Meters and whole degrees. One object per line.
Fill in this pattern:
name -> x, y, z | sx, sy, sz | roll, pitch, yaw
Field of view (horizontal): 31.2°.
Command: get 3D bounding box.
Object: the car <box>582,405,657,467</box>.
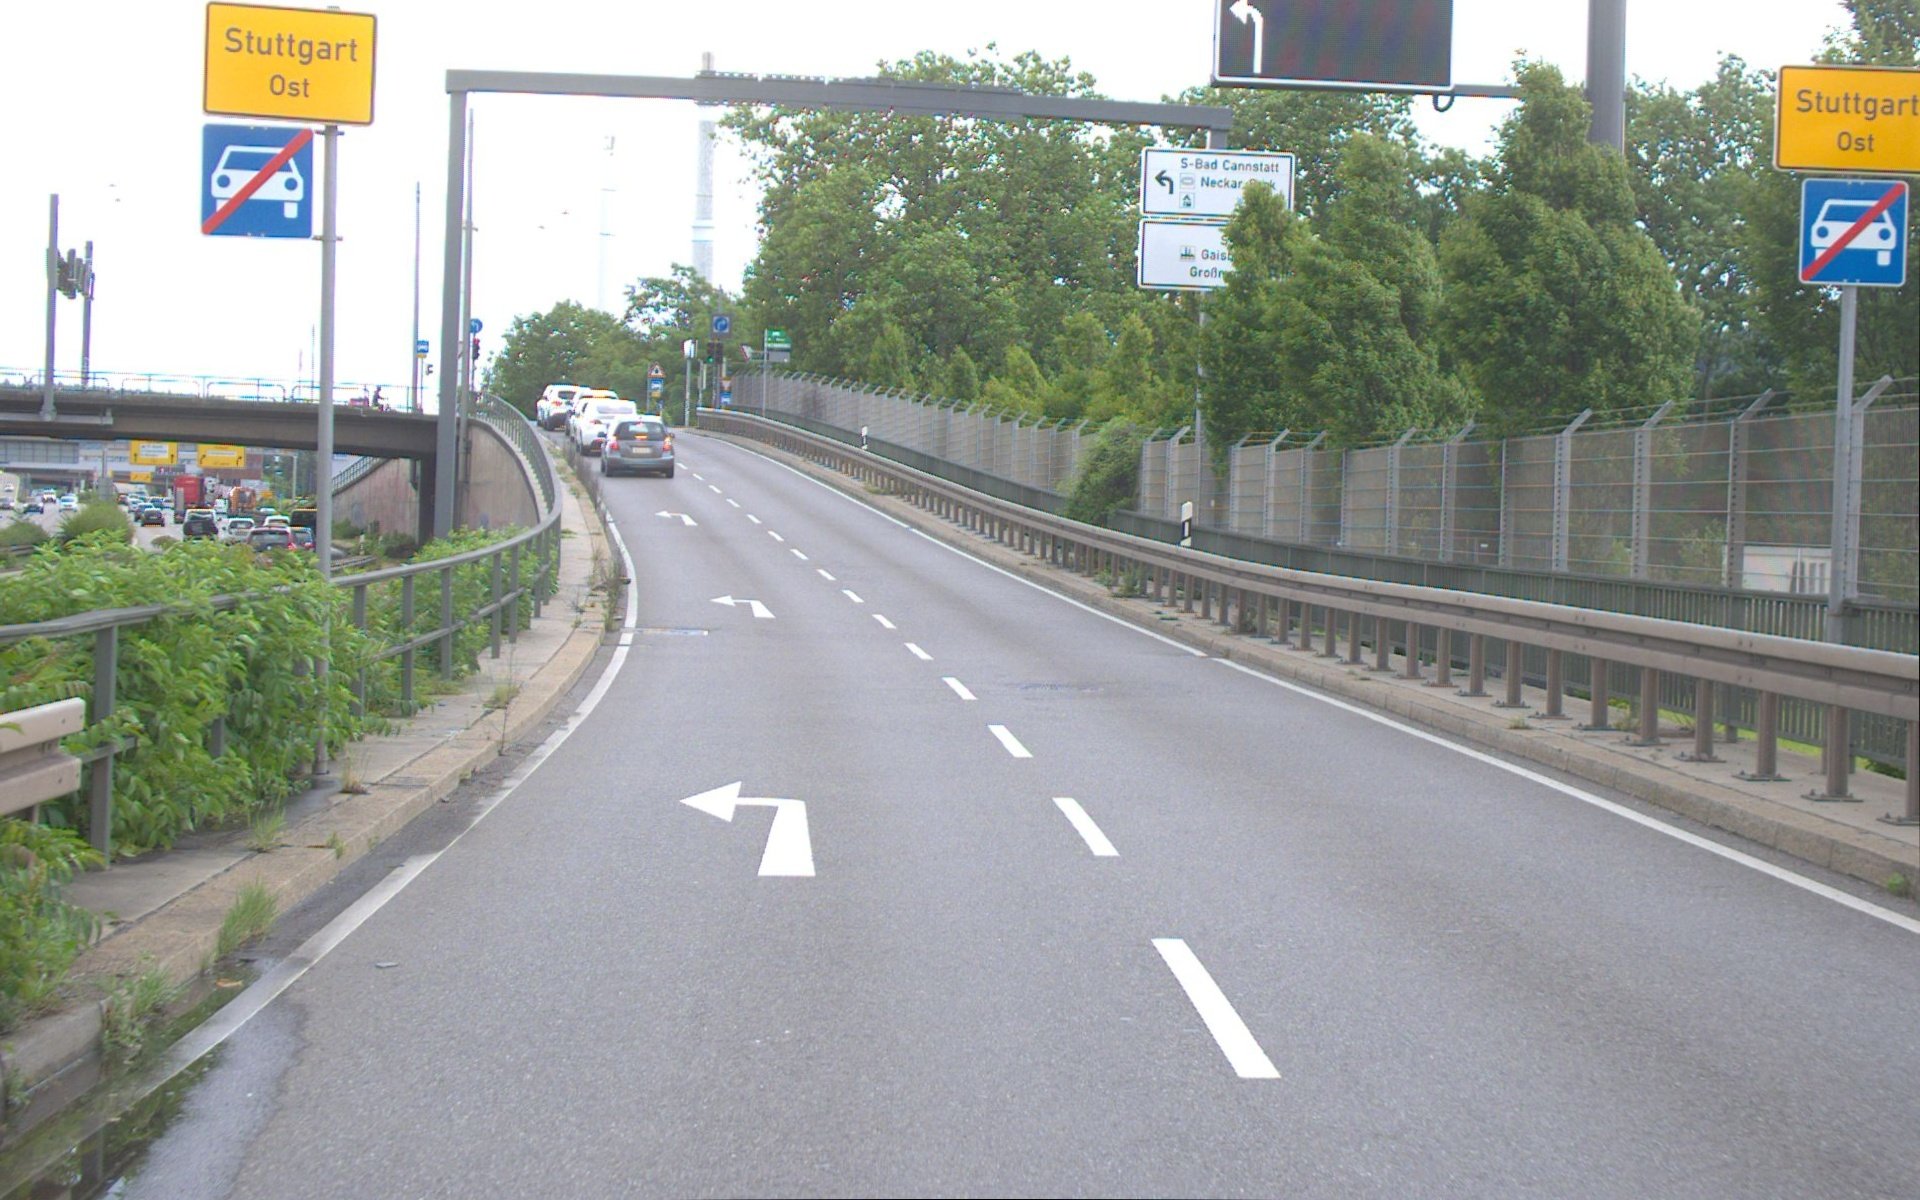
car -> -10.001, -4.814, 100.699 | 1.993, 1.597, 4.002 | 0, 5, -8

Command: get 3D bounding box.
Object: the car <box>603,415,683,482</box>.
car -> -8.223, -3.913, 89.503 | 1.749, 1.575, 4.085 | 3, 1, -2

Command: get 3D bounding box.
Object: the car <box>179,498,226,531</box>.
car -> -41.510, -4.708, 188.556 | 1.993, 1.678, 4.001 | 2, 2, -5

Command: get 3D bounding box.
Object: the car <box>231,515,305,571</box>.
car -> -19.954, -1.662, 99.110 | 1.993, 1.415, 4.002 | 2, 2, -12

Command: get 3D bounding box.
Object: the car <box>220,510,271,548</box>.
car -> -35.182, -3.515, 169.356 | 1.993, 1.678, 4.001 | 2, 2, -5
